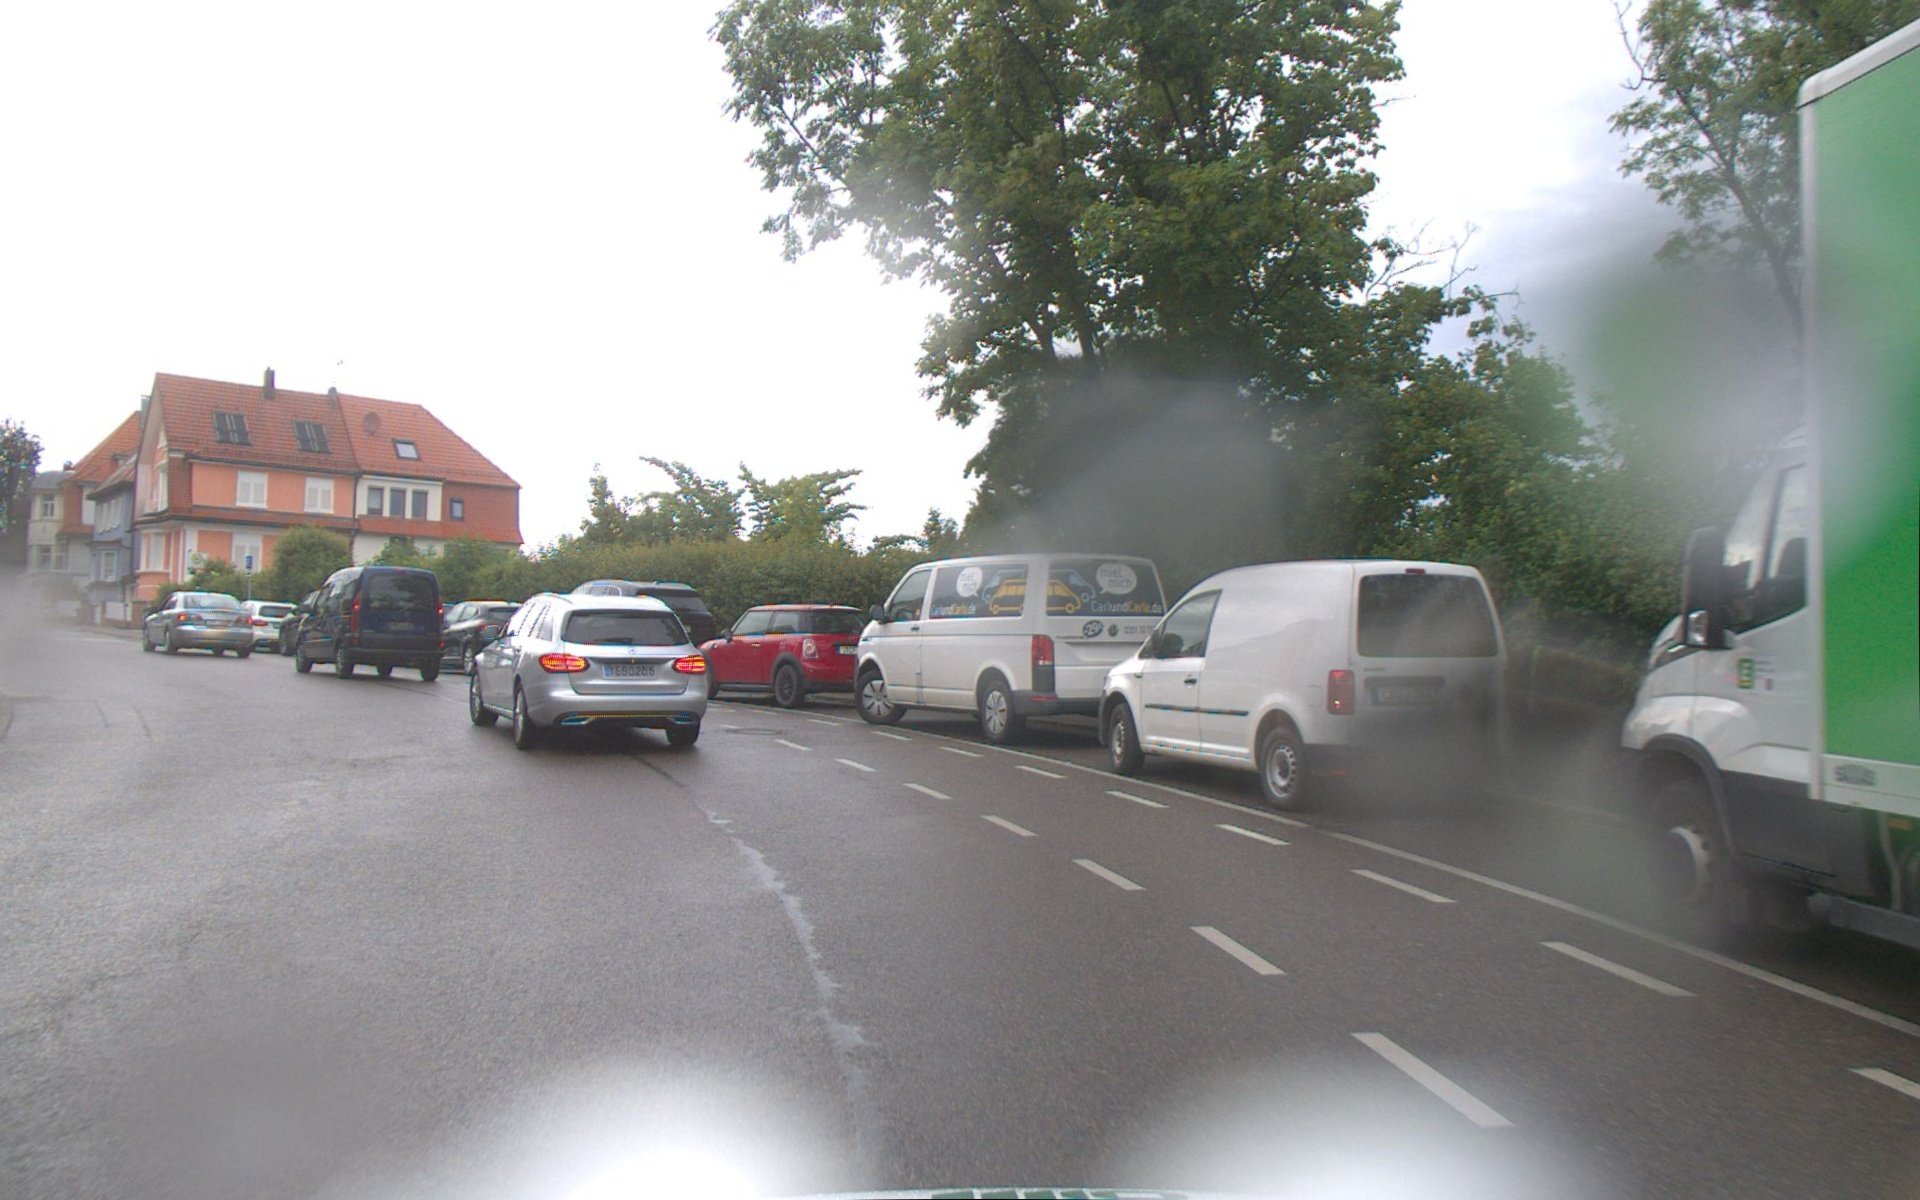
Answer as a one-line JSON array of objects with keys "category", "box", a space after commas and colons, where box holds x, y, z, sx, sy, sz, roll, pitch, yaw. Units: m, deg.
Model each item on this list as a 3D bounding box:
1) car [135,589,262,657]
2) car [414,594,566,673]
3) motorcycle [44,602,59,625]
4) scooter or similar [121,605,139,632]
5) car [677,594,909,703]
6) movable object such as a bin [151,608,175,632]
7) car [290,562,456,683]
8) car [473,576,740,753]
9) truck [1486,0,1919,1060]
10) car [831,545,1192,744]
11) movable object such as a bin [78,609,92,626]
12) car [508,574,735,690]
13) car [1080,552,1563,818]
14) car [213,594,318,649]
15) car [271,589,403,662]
[{"category": "car", "box": [-17.556, 0.550, 38.044, 1.840, 1.484, 4.040, -1, -1, -37]}, {"category": "car", "box": [-9.483, 0.661, 33.198, 1.674, 1.447, 3.933, 3, -2, -35]}, {"category": "motorcycle", "box": [-53.238, 0.790, 96.902, 0.576, 1.284, 2.304, 2, -1, -33]}, {"category": "scooter or similar", "box": [-40.172, 0.880, 80.067, 0.685, 1.245, 1.287, 4, -2, -28]}, {"category": "car", "box": [-2.518, 0.685, 24.303, 1.659, 1.439, 3.691, 3, -1, -38]}, {"category": "movable object such as a bin", "box": [-34.686, 0.882, 71.951, 0.654, 0.986, 0.571, 3, -3, 21]}, {"category": "car", "box": [-10.123, 0.302, 28.354, 1.807, 1.915, 4.049, -1, 1, -33]}, {"category": "car", "box": [-3.802, 0.592, 17.198, 1.956, 1.581, 4.267, 1, 0, -23]}, {"category": "truck", "box": [4.498, -0.312, 4.280, 2.719, 3.531, 8.923, -1, 0, -5]}, {"category": "car", "box": [0.430, 0.442, 19.045, 1.842, 1.982, 4.755, 1, 0, -32]}, {"category": "movable object such as a bin", "box": [-47.222, 0.942, 89.268, 0.544, 0.952, 0.625, 0, 0, -36]}, {"category": "car", "box": [-5.981, 0.502, 28.811, 2.011, 1.814, 4.836, 3, -1, -36]}, {"category": "car", "box": [2.720, 0.567, 13.585, 1.833, 1.801, 4.351, 0, 0, -21]}, {"category": "car", "box": [-20.340, 0.598, 48.348, 1.700, 1.430, 4.547, 5, -2, -37]}, {"category": "car", "box": [-16.138, 0.625, 42.709, 1.874, 1.692, 4.486, 5, -3, -38]}]
